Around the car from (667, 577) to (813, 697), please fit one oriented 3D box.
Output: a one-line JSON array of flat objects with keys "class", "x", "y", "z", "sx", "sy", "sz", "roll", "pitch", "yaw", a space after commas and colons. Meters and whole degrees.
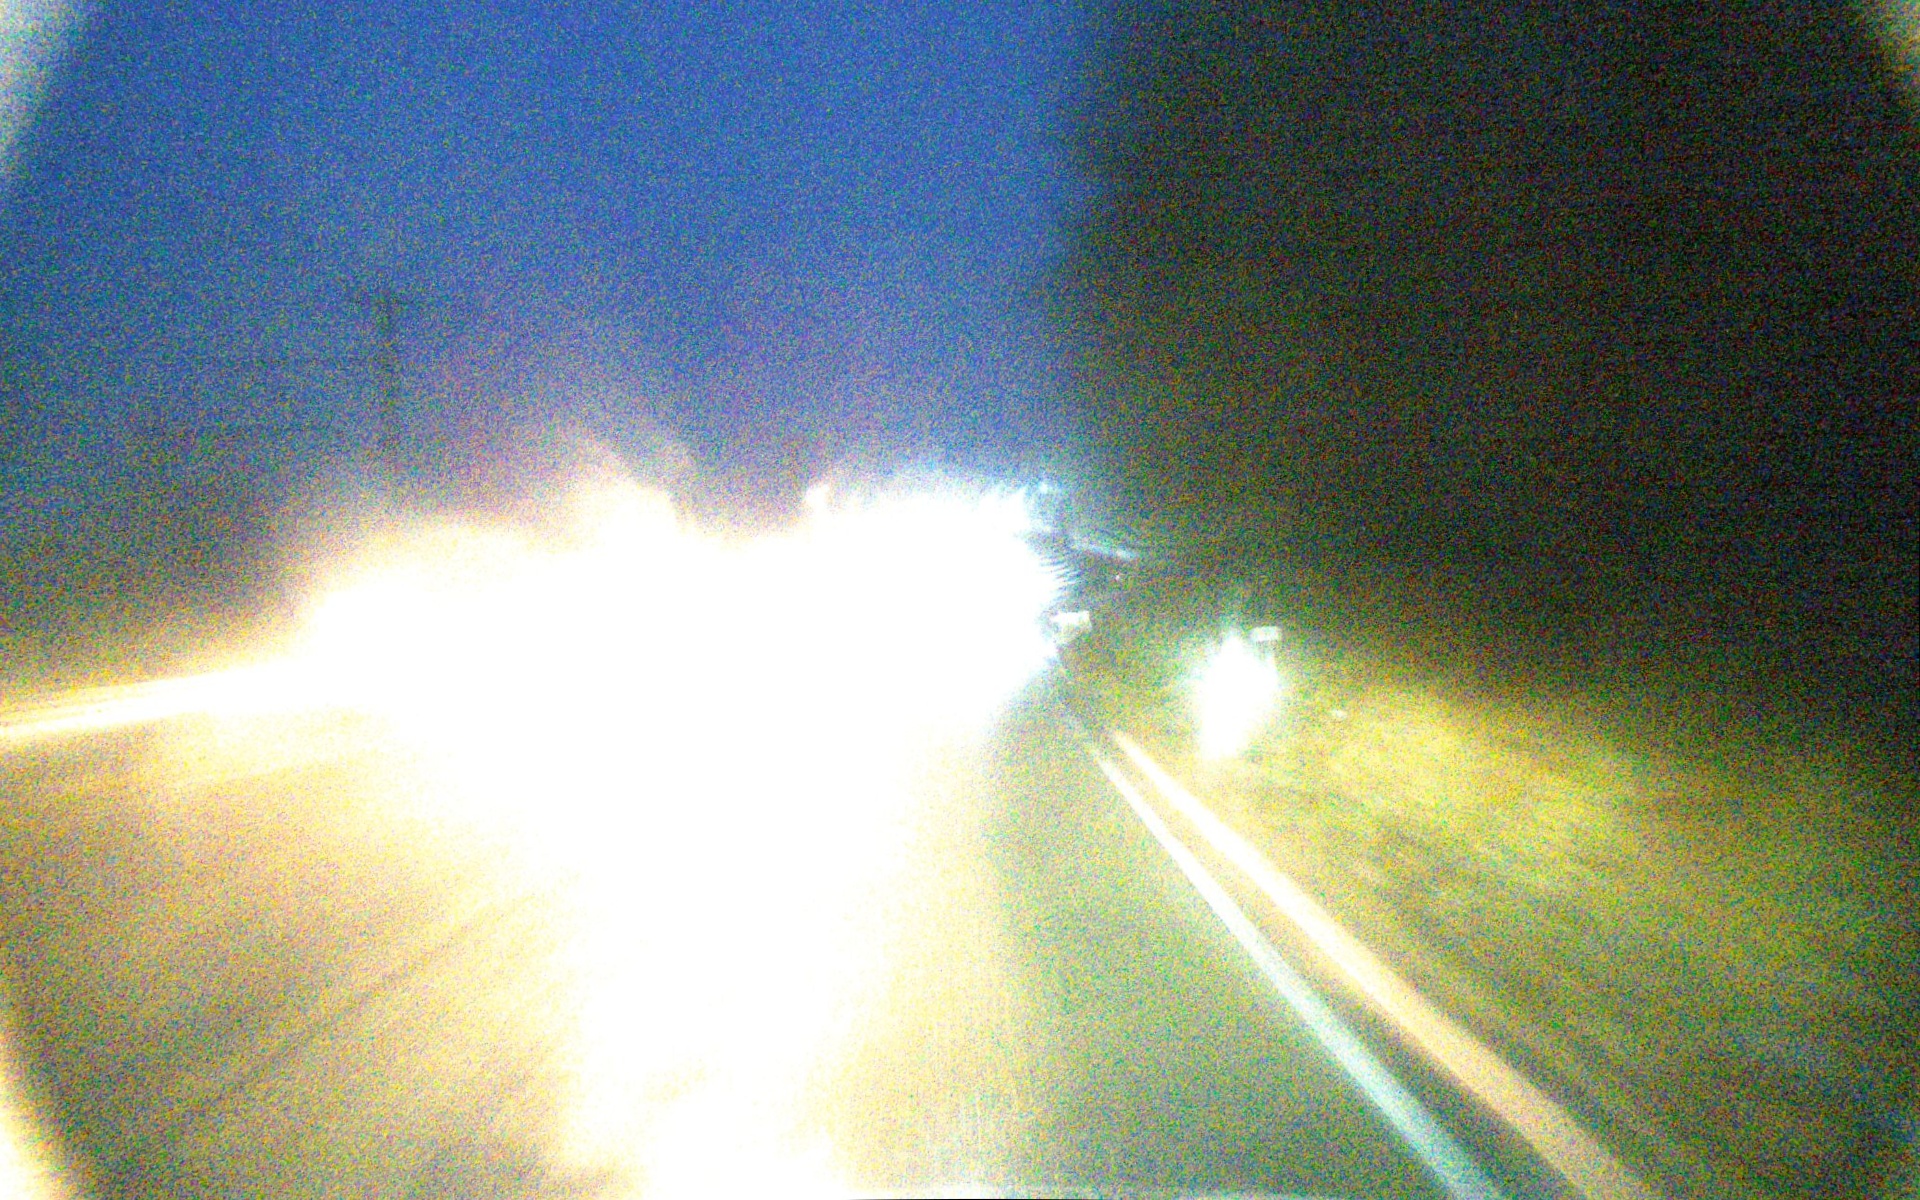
[{"class": "car", "x": -3.570, "y": 0.546, "z": 27.547, "sx": 1.954, "sy": 1.684, "sz": 3.999, "roll": -3, "pitch": 2, "yaw": -2}]
